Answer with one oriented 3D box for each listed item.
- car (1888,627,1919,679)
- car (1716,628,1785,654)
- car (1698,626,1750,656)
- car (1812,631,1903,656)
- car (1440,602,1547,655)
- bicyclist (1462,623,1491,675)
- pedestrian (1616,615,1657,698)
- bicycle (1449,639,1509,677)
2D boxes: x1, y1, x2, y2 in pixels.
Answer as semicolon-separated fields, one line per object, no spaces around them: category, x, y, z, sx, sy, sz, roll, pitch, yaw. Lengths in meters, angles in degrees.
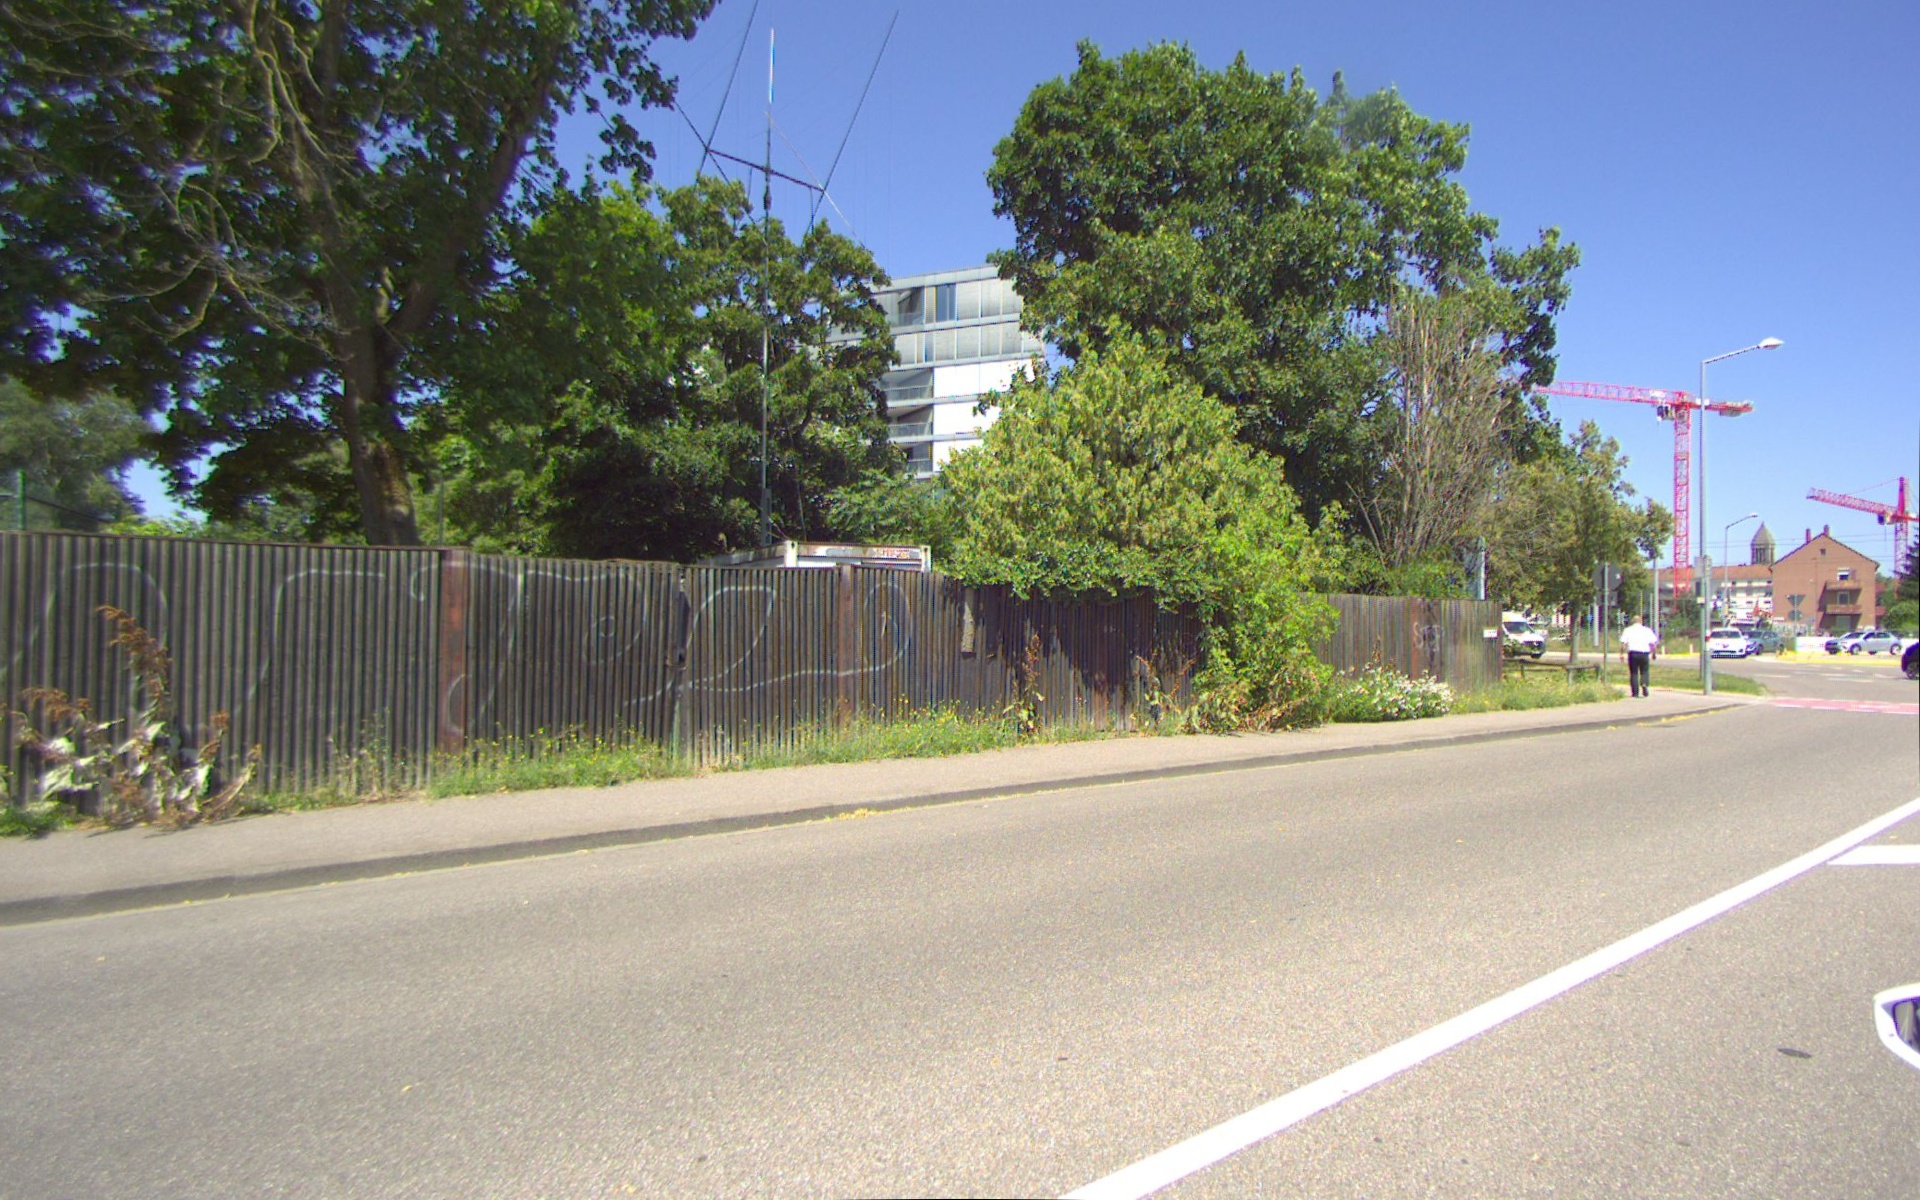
car;31.487;1.669;30.931;1.699;1.572;3.989;-1;-1;-14
car;46.017;2.377;58.433;4.282;1.390;1.737;2;0;-31
car;40.696;2.157;53.570;1.750;1.547;3.865;0;-2;30
car;55.676;2.691;62.322;4.188;1.421;1.732;2;0;-3
car;31.049;1.568;58.764;1.962;2.865;6.877;2;0;-6
bicyclist;17.916;1.700;34.837;0.582;1.775;0.671;1;-2;-12
pedestrian;15.215;1.245;22.609;0.626;1.810;0.967;2;0;29
bicycle;17.935;1.974;34.787;0.623;1.237;2.093;1;-1;-14
